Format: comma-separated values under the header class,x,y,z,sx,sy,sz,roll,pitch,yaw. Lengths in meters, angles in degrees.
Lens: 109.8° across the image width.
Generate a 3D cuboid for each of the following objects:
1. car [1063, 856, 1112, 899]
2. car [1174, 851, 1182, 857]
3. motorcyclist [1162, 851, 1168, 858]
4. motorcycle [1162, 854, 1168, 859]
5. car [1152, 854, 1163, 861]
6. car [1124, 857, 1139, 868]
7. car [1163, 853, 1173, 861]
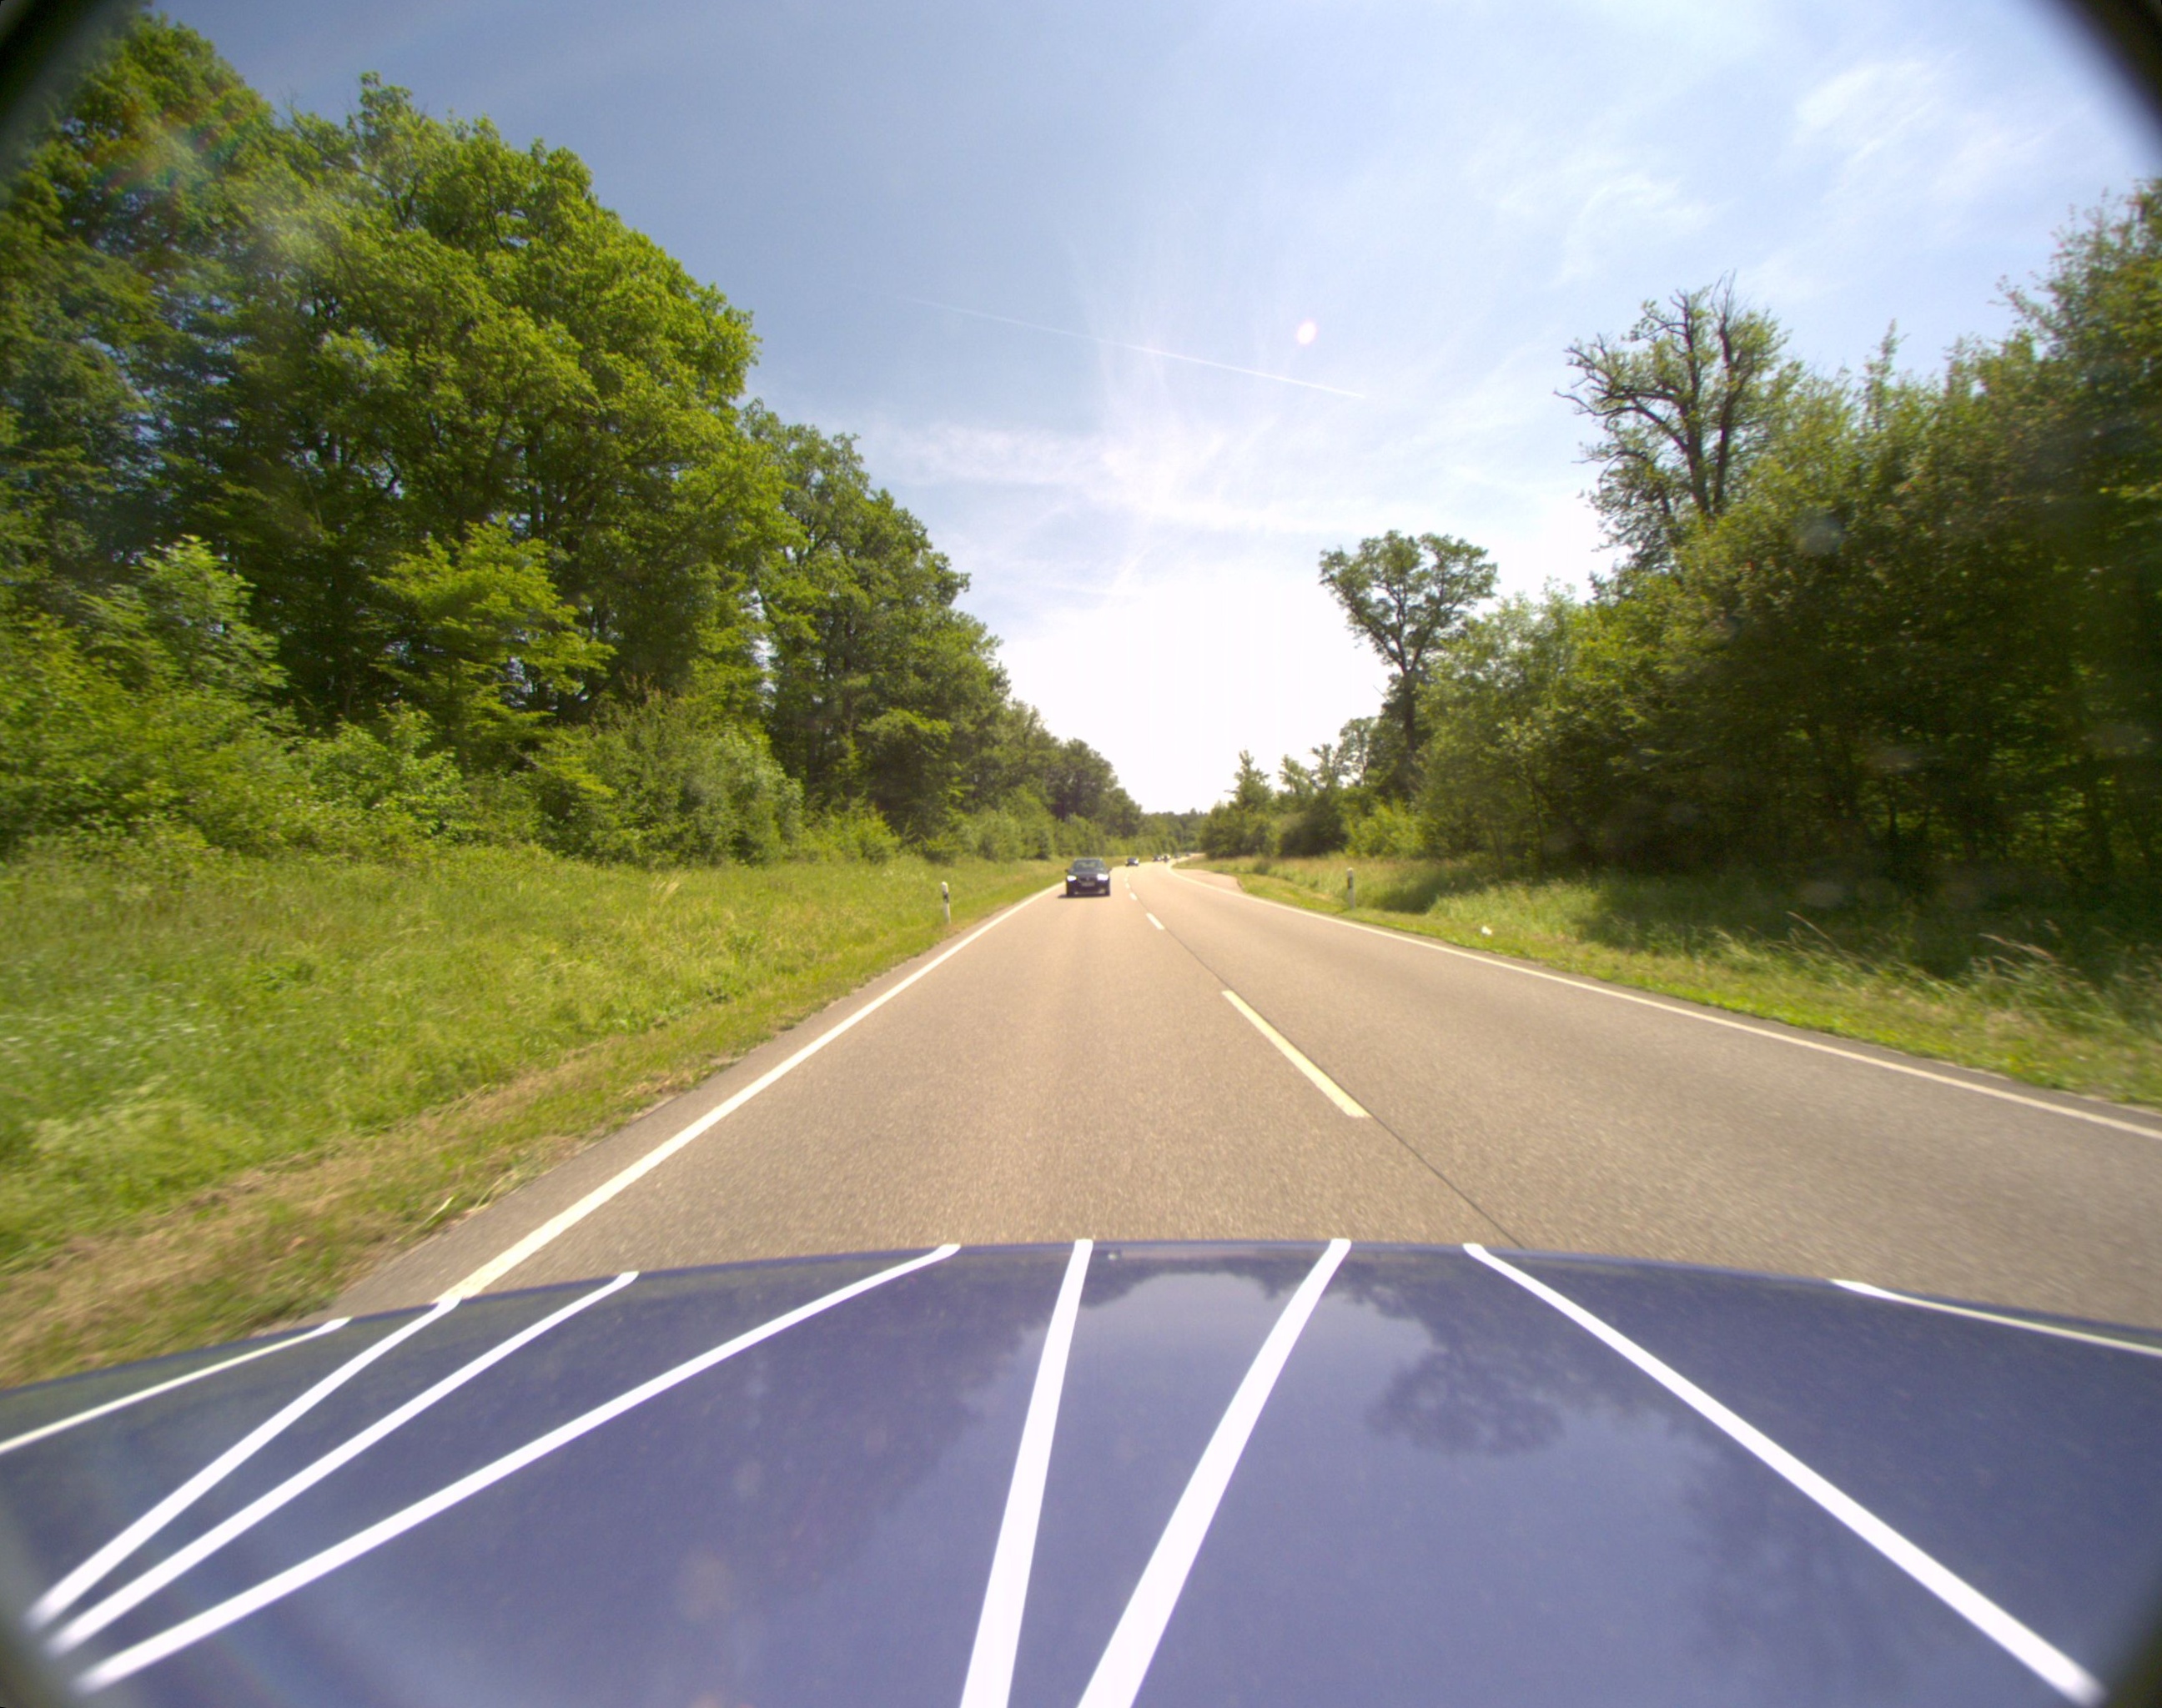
class,x,y,z,sx,sy,sz,roll,pitch,yaw
car,0.328,0.908,31.327,1.713,1.516,4.243,-3,0,3
car,28.454,-0.045,223.497,1.691,1.718,4.004,-2,0,15
motorcyclist,15.835,0.101,142.708,1.011,1.319,0.966,-2,0,8
motorcycle,15.822,0.496,142.694,1.016,1.056,2.774,-1,0,8
car,16.371,0.752,162.705,1.774,1.454,4.003,-2,0,11
car,7.701,1.273,115.200,1.775,1.454,3.951,-2,0,10
car,22.019,0.778,191.966,2.017,1.737,4.384,-2,0,12
